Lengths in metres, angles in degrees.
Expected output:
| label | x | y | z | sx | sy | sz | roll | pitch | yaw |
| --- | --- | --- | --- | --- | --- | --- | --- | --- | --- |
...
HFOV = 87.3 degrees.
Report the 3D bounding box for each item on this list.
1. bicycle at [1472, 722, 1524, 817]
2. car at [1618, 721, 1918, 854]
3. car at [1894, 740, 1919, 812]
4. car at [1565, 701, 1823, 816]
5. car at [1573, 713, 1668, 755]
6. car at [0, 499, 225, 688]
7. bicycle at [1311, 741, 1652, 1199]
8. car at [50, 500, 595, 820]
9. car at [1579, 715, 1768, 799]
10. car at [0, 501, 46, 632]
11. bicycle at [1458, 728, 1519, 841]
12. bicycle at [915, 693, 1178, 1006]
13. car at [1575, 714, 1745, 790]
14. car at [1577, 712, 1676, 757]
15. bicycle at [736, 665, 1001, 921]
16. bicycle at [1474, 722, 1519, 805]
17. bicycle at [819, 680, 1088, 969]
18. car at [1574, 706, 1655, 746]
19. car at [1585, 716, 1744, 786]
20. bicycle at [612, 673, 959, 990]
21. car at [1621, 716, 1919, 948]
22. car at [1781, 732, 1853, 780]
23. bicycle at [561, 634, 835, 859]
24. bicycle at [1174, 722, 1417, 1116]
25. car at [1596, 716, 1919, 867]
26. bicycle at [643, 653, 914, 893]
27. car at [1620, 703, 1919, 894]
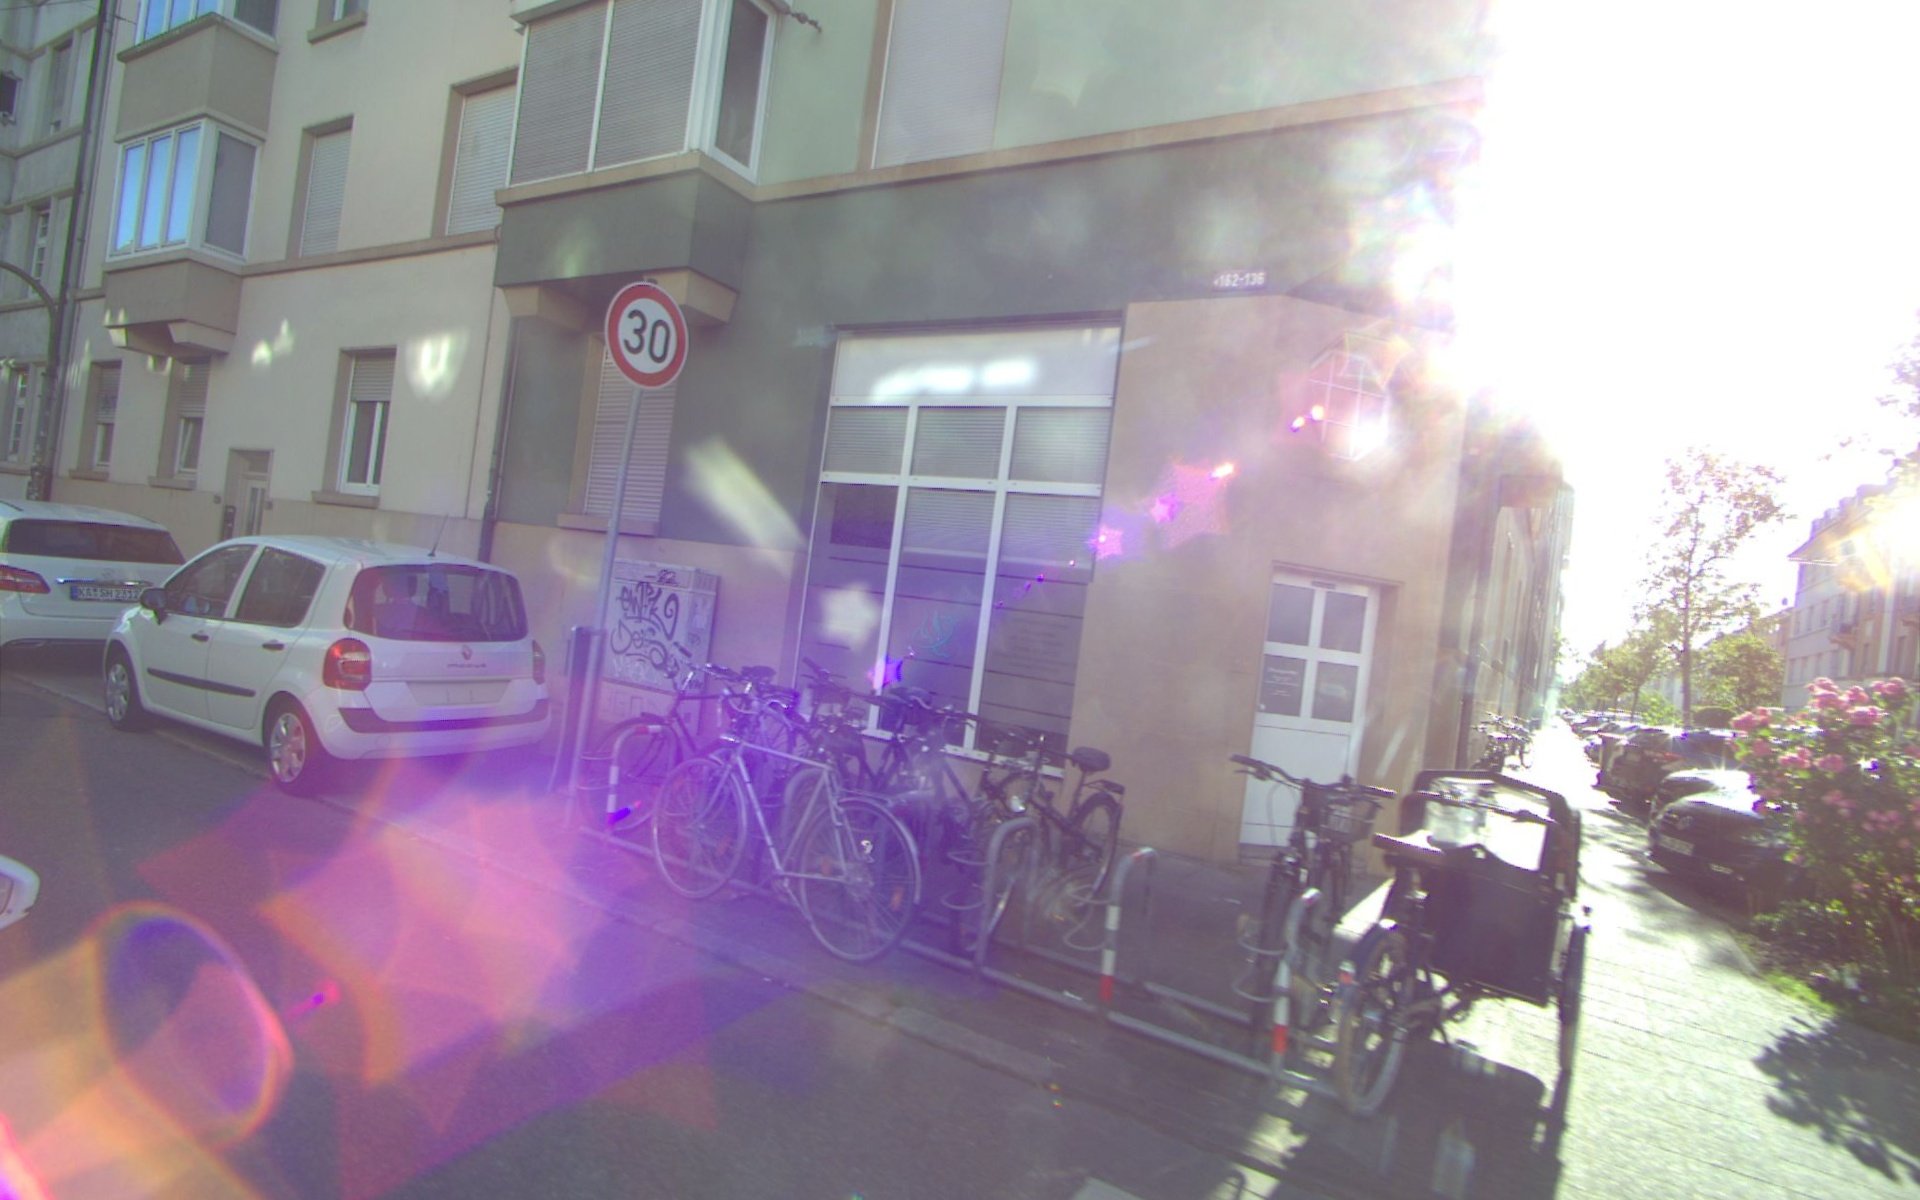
| label | x | y | z | sx | sy | sz | roll | pitch | yaw |
| --- | --- | --- | --- | --- | --- | --- | --- | --- | --- |
| bicycle | 7.120 | 2.197 | 13.304 | 0.448 | 1.075 | 1.899 | 7 | -1 | 29 |
| car | 15.185 | 3.477 | 19.164 | 3.924 | 1.659 | 1.763 | 7 | -1 | 16 |
| car | 30.734 | 5.600 | 31.034 | 1.783 | 2.144 | 3.995 | 7 | -1 | 31 |
| car | 15.451 | 3.289 | 21.428 | 3.924 | 1.659 | 1.763 | 7 | -1 | 16 |
| car | 36.979 | 7.487 | 56.424 | 3.924 | 1.623 | 1.763 | 7 | -1 | 16 |
| car | -9.678 | -0.202 | 10.413 | 4.255 | 1.594 | 1.786 | 7 | -1 | 32 |
| bicycle | 2.148 | 1.296 | 4.055 | 0.834 | 1.169 | 2.087 | 7 | 1 | 32 |
| car | -4.829 | 0.315 | 7.497 | 3.934 | 1.651 | 1.786 | 7 | -1 | 32 |
| car | 20.414 | 4.460 | 28.976 | 3.924 | 1.623 | 1.763 | 7 | -1 | 16 |
| car | -13.880 | -0.663 | 13.154 | 4.267 | 1.585 | 1.657 | 7 | -1 | 32 |
| bicycle | 6.025 | 2.051 | 11.448 | 0.448 | 1.075 | 1.899 | 7 | -1 | 29 |
| bicycle | 0.506 | 1.112 | 5.006 | 0.461 | 1.170 | 1.723 | 7 | 2 | 32 |
| car | 22.136 | 4.784 | 31.962 | 3.924 | 1.623 | 1.763 | 7 | -1 | 16 |
| car | 35.537 | 7.158 | 53.753 | 3.924 | 1.623 | 1.763 | 7 | -1 | 16 |
| bicycle | -0.447 | 0.997 | 5.749 | 0.461 | 1.170 | 1.723 | 7 | 2 | 32 |
| bicycle | 8.062 | 2.423 | 15.101 | 0.448 | 1.075 | 1.899 | 7 | -1 | 29 |
| bicycle | 0.043 | 1.057 | 5.276 | 0.461 | 1.170 | 1.723 | 7 | 2 | 32 |
| car | 42.989 | 8.265 | 66.176 | 3.924 | 1.869 | 1.764 | 7 | -1 | 11 |
| car | 23.966 | 5.106 | 34.370 | 3.924 | 1.623 | 1.763 | 7 | -1 | 16 |
| bicycle | -0.868 | 0.987 | 4.690 | 1.700 | 1.057 | 0.353 | 7 | 0 | 34 |
| car | 8.629 | 2.186 | 9.107 | 4.001 | 1.598 | 1.642 | 8 | -1 | 4 |
| car | 41.144 | 7.458 | 48.406 | 1.783 | 1.847 | 3.995 | 7 | -1 | 31 |
| bicycle | -1.556 | 0.828 | 6.269 | 0.461 | 1.170 | 1.723 | 7 | 2 | 32 |
| bicycle | 1.526 | 1.207 | 4.349 | 0.461 | 1.170 | 1.843 | 7 | 2 | 32 |
| car | 13.495 | 3.135 | 16.773 | 4.367 | 1.659 | 1.845 | 7 | -1 | 13 |
| bicycle | -1.006 | 0.932 | 6.001 | 0.461 | 1.170 | 1.723 | 7 | 2 | 32 |
| car | 10.354 | 2.351 | 11.733 | 3.924 | 1.659 | 1.764 | 7 | -1 | 11 |
